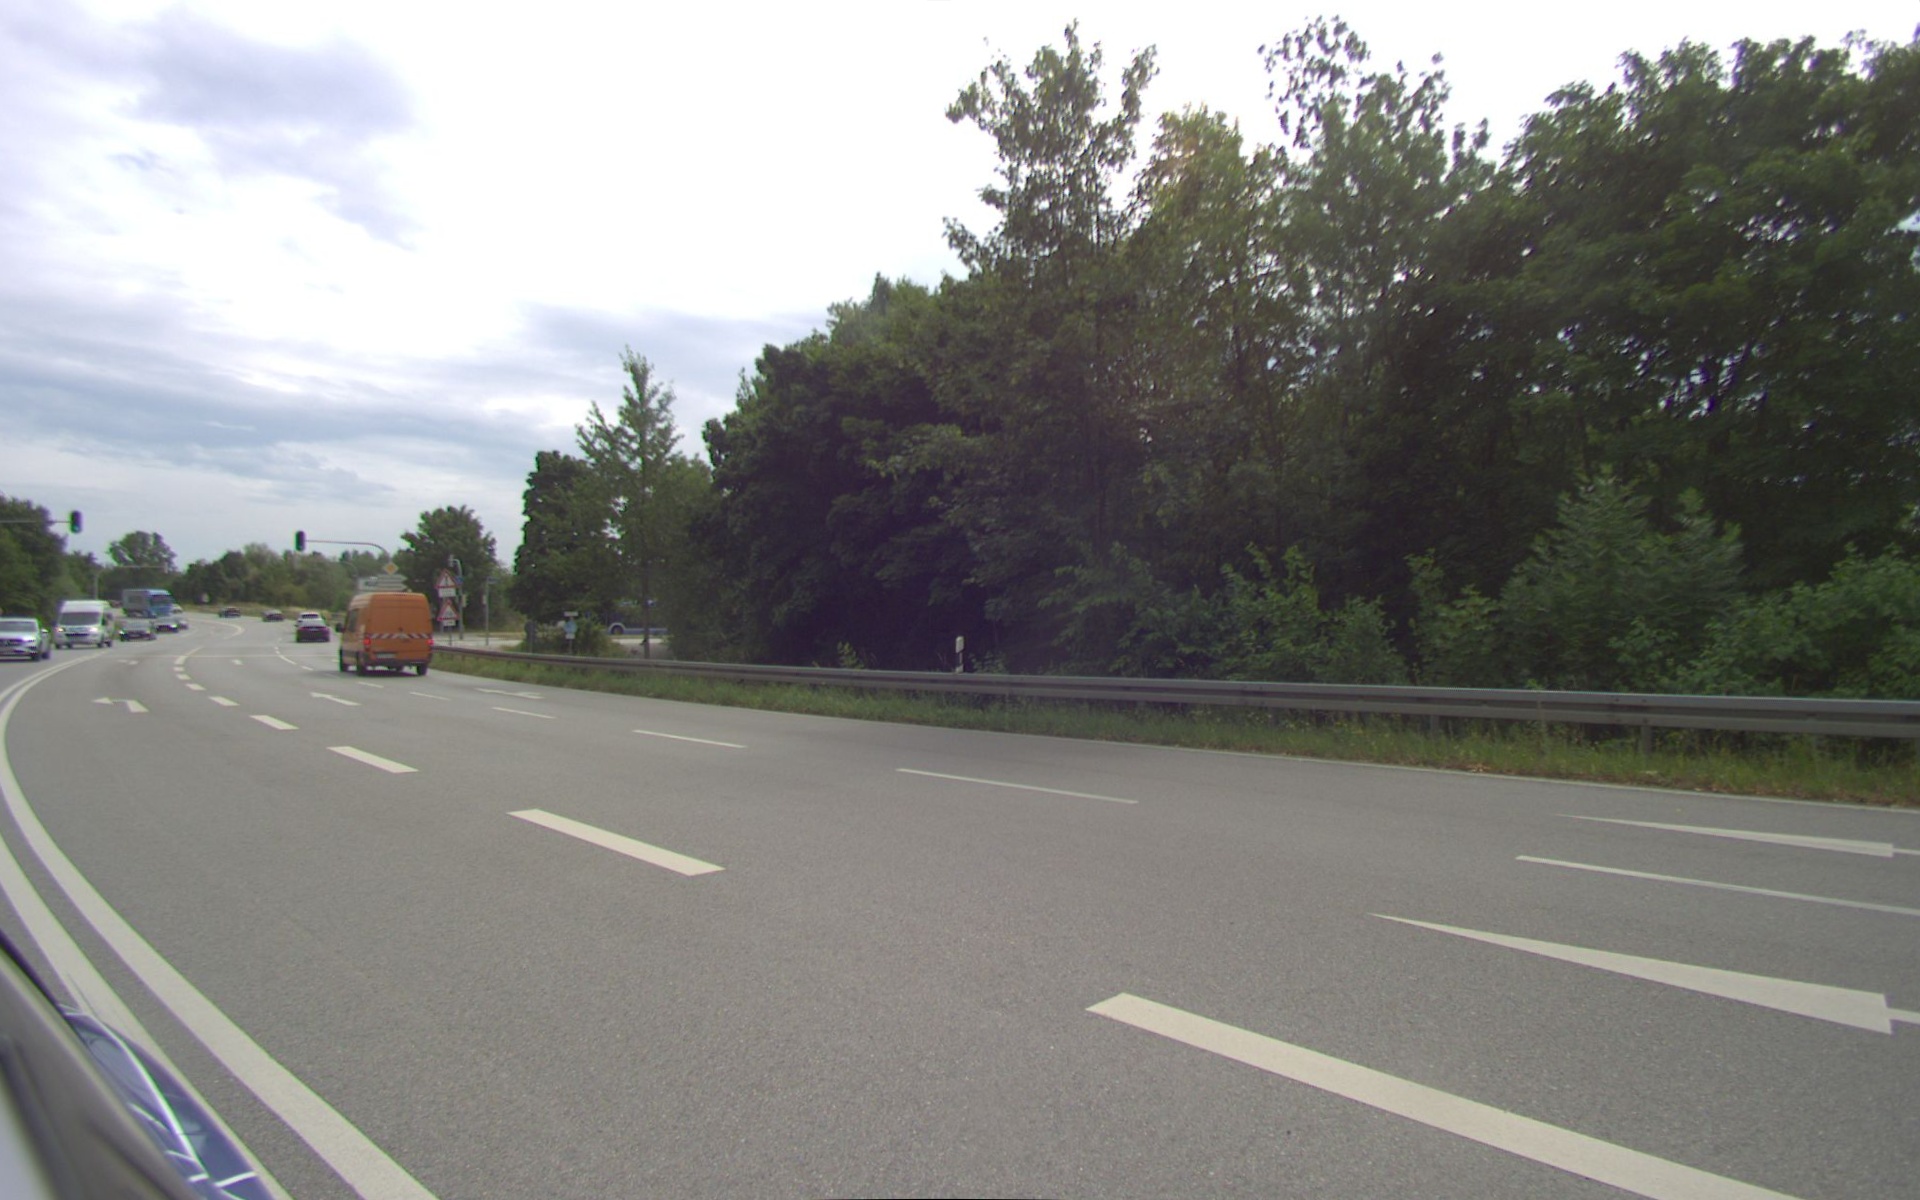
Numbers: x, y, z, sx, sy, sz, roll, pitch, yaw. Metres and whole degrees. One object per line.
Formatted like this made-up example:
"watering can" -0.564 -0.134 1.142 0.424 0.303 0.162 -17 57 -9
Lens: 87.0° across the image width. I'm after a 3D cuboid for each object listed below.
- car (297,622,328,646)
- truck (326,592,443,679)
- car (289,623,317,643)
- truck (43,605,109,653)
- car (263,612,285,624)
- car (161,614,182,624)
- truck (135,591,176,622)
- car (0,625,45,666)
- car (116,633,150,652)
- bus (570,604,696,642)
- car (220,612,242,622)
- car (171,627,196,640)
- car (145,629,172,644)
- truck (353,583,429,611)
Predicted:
"car" -43.085 2.278 67.365 1.694 1.509 4.560 2 -3 -32
"truck" -19.156 1.211 33.536 2.287 2.621 6.033 3 -4 -40
"car" -55.405 2.790 85.376 1.832 1.656 4.750 2 -3 -32
"truck" -50.238 1.639 57.636 2.342 2.613 6.012 2 -2 -37
"car" -86.401 2.312 127.429 1.719 1.497 4.205 1 -1 -42
"car" -127.034 3.055 162.962 3.994 1.497 1.723 -1 1 38
"truck" -117.232 1.027 147.422 9.568 4.383 2.987 -1 -2 42
"car" -36.269 1.707 38.618 1.799 1.509 4.230 3 -3 -40
"car" -59.484 3.039 72.763 1.718 1.335 4.005 4 -4 -41
"bus" -27.838 1.979 86.503 9.923 3.070 3.124 1 -2 -45
"car" -105.488 2.387 146.423 3.999 1.396 1.721 -1 0 42
"car" -80.211 3.454 104.545 1.718 1.335 4.006 4 -4 -41
"car" -73.595 3.369 92.968 1.717 1.335 4.009 4 -4 -36
"truck" -104.267 -0.571 185.394 14.093 4.358 3.344 3 0 18
